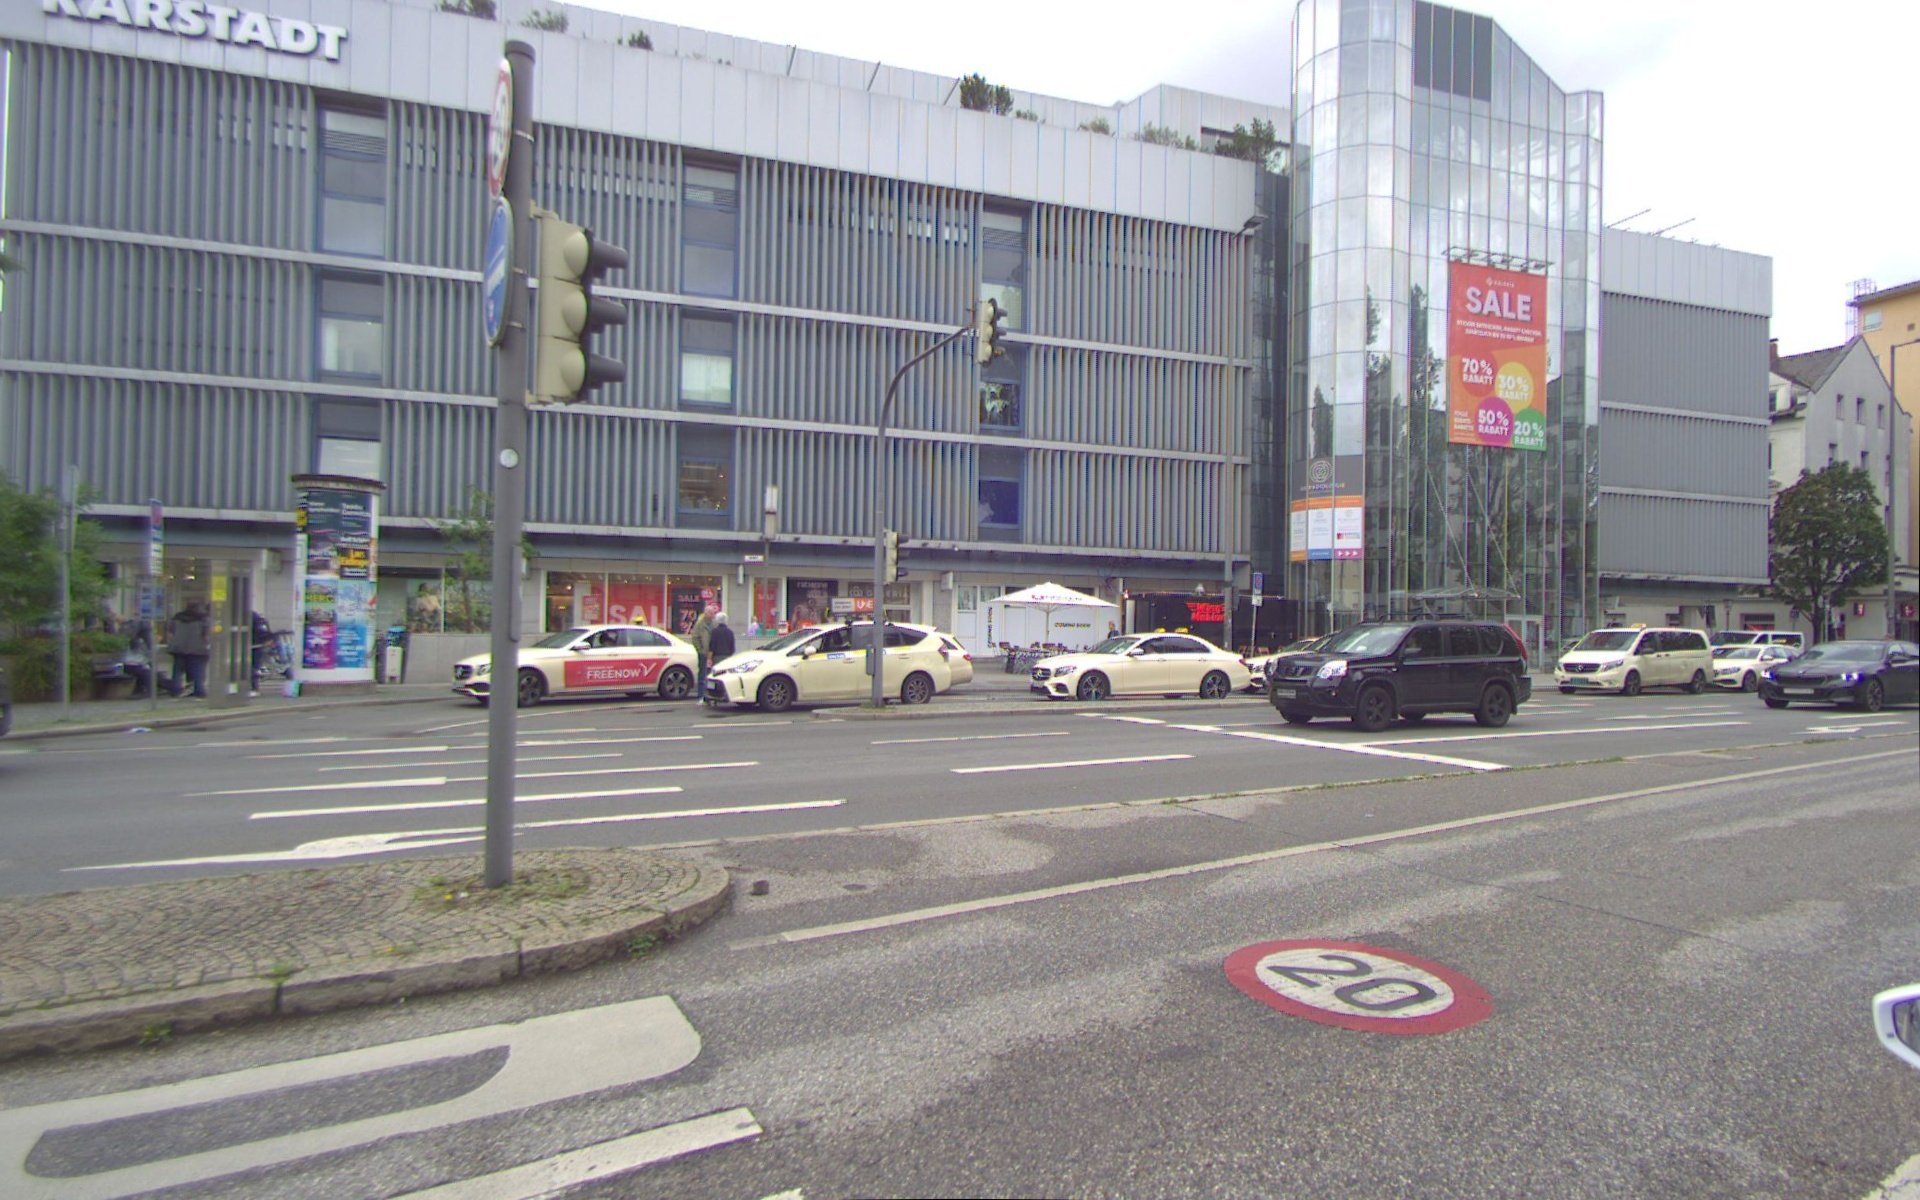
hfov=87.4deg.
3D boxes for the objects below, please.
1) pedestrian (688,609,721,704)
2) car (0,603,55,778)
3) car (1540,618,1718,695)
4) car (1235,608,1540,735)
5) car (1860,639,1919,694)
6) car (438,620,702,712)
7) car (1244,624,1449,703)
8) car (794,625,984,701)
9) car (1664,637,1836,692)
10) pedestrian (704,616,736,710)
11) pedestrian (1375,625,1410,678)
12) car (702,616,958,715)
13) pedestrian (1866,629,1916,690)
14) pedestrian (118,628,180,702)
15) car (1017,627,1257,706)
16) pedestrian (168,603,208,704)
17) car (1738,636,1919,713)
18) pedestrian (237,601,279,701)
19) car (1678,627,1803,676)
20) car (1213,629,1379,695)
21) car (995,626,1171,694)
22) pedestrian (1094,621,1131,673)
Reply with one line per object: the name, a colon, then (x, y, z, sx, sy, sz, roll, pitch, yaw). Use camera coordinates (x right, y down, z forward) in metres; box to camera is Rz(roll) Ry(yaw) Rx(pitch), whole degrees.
pedestrian: (-4.822, 1.065, 18.940, 0.424, 1.752, 0.521, 2, 0, -31)
car: (-10.897, 0.782, 8.379, 4.558, 1.597, 1.986, 1, -2, -28)
car: (19.198, 1.614, 28.795, 5.254, 2.040, 1.986, 2, -3, -28)
car: (6.862, 1.084, 16.114, 4.535, 1.801, 1.988, 1, -2, -24)
car: (29.265, 1.949, 29.897, 4.881, 1.567, 1.953, 1, -2, -25)
car: (-7.233, 1.175, 18.930, 4.271, 1.530, 1.835, 2, -2, -45)
car: (9.037, 1.474, 23.561, 4.316, 1.721, 1.883, 1, -3, -20)
car: (-1.617, 1.399, 23.026, 3.949, 1.587, 1.899, 1, -2, -28)
car: (24.516, 1.977, 31.168, 5.011, 1.573, 1.974, 1, -2, -22)
pedestrian: (-4.406, 1.149, 18.429, 0.420, 1.677, 0.362, 2, 0, -31)
pedestrian: (15.099, 1.783, 35.106, 0.805, 1.829, 0.788, 1, -1, -18)
car: (-2.329, 1.162, 18.480, 4.425, 1.633, 1.579, 2, -2, -31)
pedestrian: (29.396, 1.879, 31.734, 0.830, 1.892, 0.789, 1, -1, 0)
pedestrian: (-14.775, 1.175, 18.319, 0.764, 1.325, 0.540, 1, -1, -30)
car: (3.794, 1.375, 21.552, 4.775, 1.561, 1.943, 1, -2, -21)
pedestrian: (-13.328, 0.918, 17.354, 0.454, 1.722, 0.428, 2, 0, -31)
car: (19.669, 1.582, 22.150, 4.954, 1.527, 1.987, 1, -2, -26)
pedestrian: (-12.930, 0.923, 18.504, 0.504, 1.802, 0.559, 2, 0, -27)
car: (33.608, 2.187, 43.242, 5.037, 2.040, 1.990, 1, -2, -22)
car: (8.826, 1.612, 26.431, 3.939, 1.637, 1.770, 1, -2, -20)
car: (3.007, 1.443, 24.565, 3.942, 1.557, 1.749, 1, -2, -22)
pedestrian: (4.658, 1.435, 30.693, 0.885, 1.566, 0.731, 1, -1, -17)
